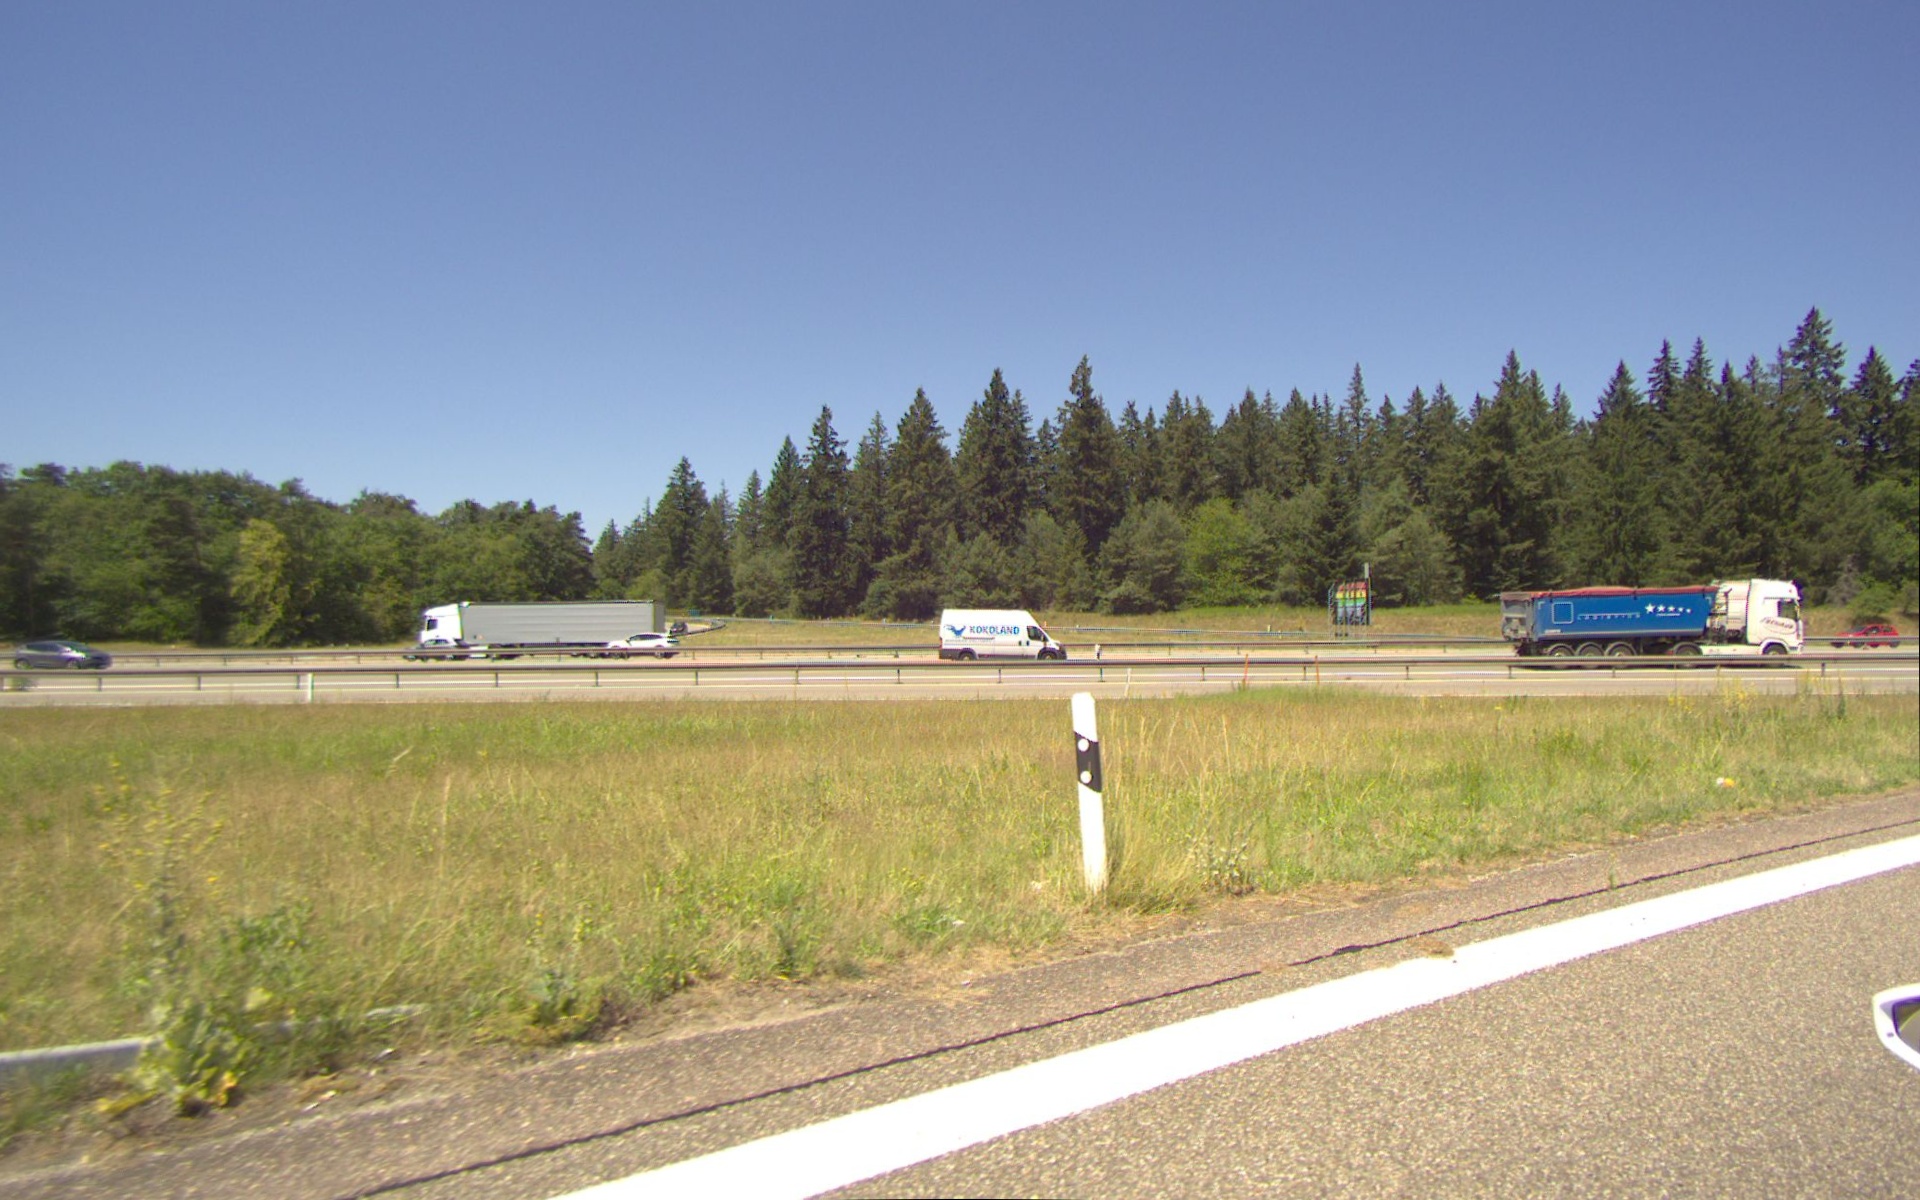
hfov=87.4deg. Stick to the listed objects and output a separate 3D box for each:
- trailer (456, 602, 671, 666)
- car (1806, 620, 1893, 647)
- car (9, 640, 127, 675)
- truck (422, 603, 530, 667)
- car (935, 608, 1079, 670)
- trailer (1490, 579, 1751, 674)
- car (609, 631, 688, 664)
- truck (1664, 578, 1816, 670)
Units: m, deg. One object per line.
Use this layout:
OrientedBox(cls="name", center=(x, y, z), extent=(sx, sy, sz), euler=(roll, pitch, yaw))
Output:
OrientedBox(cls="trailer", center=(-27.959, 2.439, 71.245), extent=(14.013, 4.444, 2.935), euler=(0, -2, 0))
OrientedBox(cls="car", center=(57.913, 2.205, 65.454), extent=(3.921, 1.750, 1.968), euler=(0, -3, 0))
OrientedBox(cls="car", center=(-47.976, 3.089, 54.083), extent=(4.729, 1.706, 1.778), euler=(1, 0, 1))
OrientedBox(cls="truck", center=(-34.265, 2.490, 71.291), extent=(6.147, 4.450, 2.949), euler=(0, -2, 0))
OrientedBox(cls="car", center=(2.303, 1.881, 49.622), extent=(6.913, 2.870, 2.246), euler=(1, 0, 1))
OrientedBox(cls="trailer", center=(29.056, 1.150, 44.445), extent=(9.690, 3.858, 2.780), euler=(-1, 0, 0))
OrientedBox(cls="car", center=(-19.627, 2.983, 63.361), extent=(4.271, 1.873, 2.001), euler=(-2, -1, 2))
OrientedBox(cls="truck", center=(34.414, 1.027, 44.457), extent=(4.531, 3.858, 2.765), euler=(-1, 0, 0))
